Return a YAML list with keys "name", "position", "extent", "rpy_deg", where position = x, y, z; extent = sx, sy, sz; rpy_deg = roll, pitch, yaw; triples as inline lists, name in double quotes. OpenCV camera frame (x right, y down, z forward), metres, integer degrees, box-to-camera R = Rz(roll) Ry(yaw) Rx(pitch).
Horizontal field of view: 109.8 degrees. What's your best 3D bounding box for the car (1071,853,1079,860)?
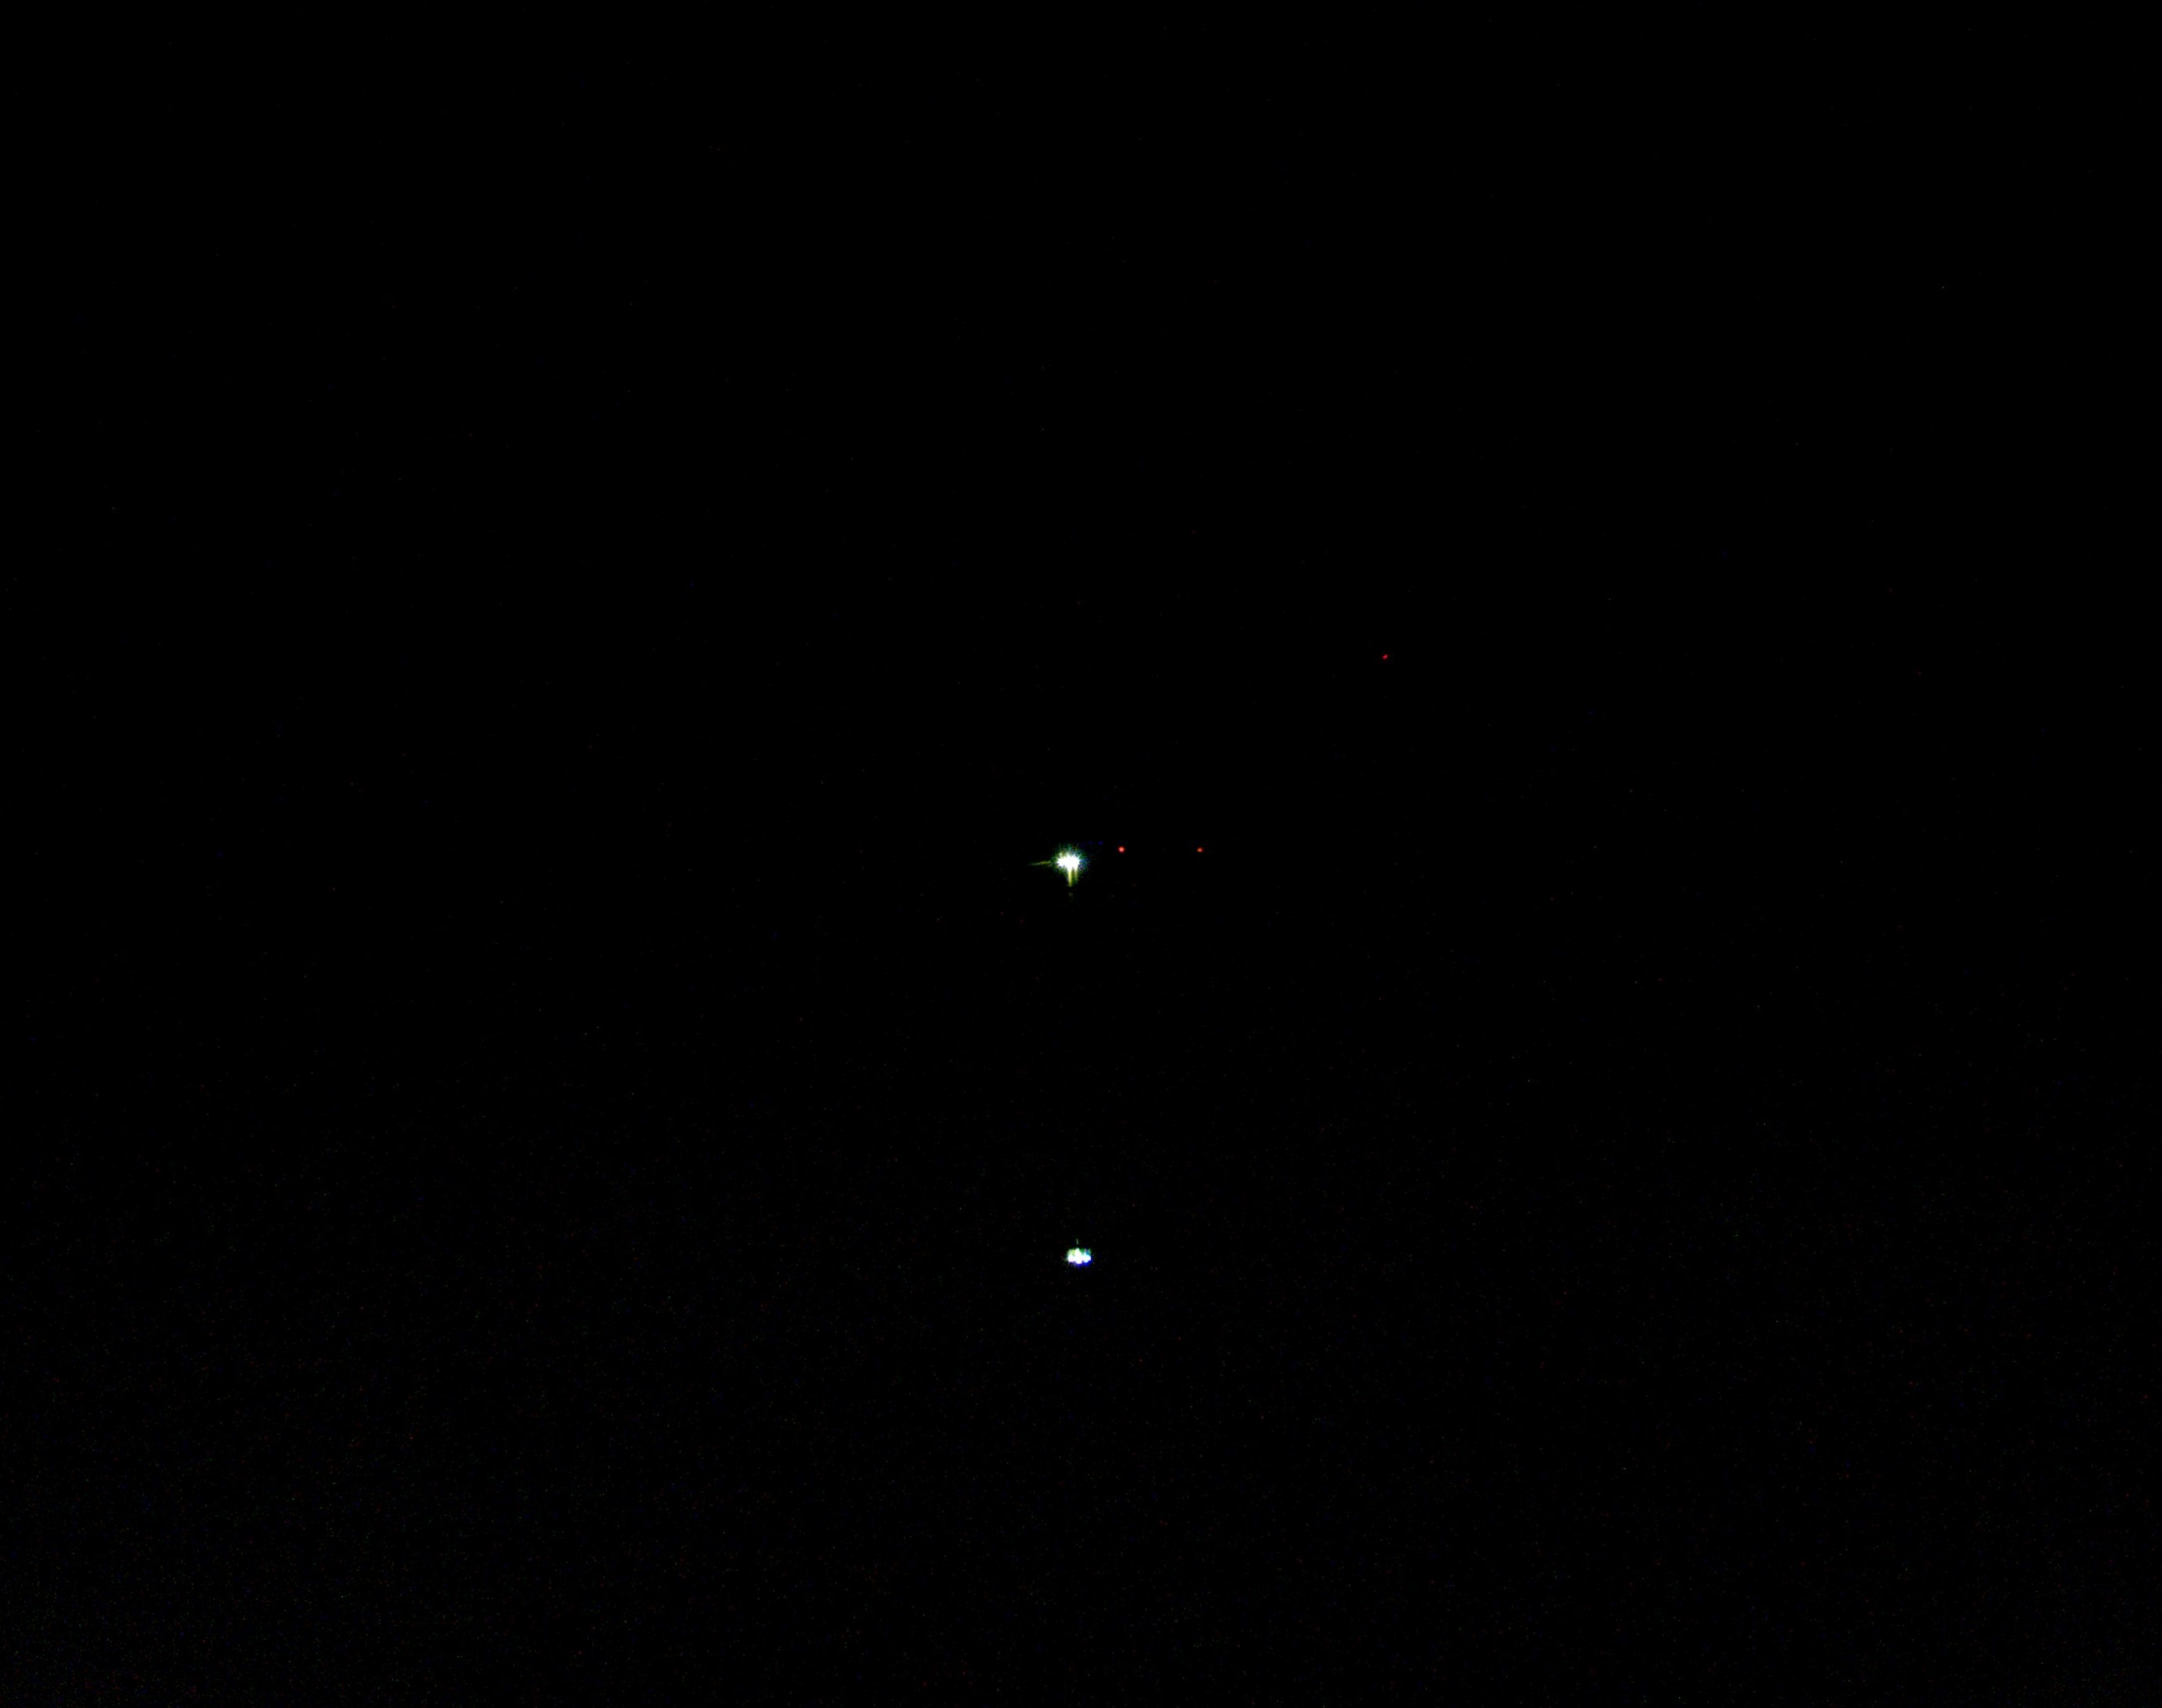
- name: "car"
  position: [-1.521, 0.654, 183.171]
  extent: [1.846, 1.474, 4.293]
  rpy_deg: [-3, -1, -1]
